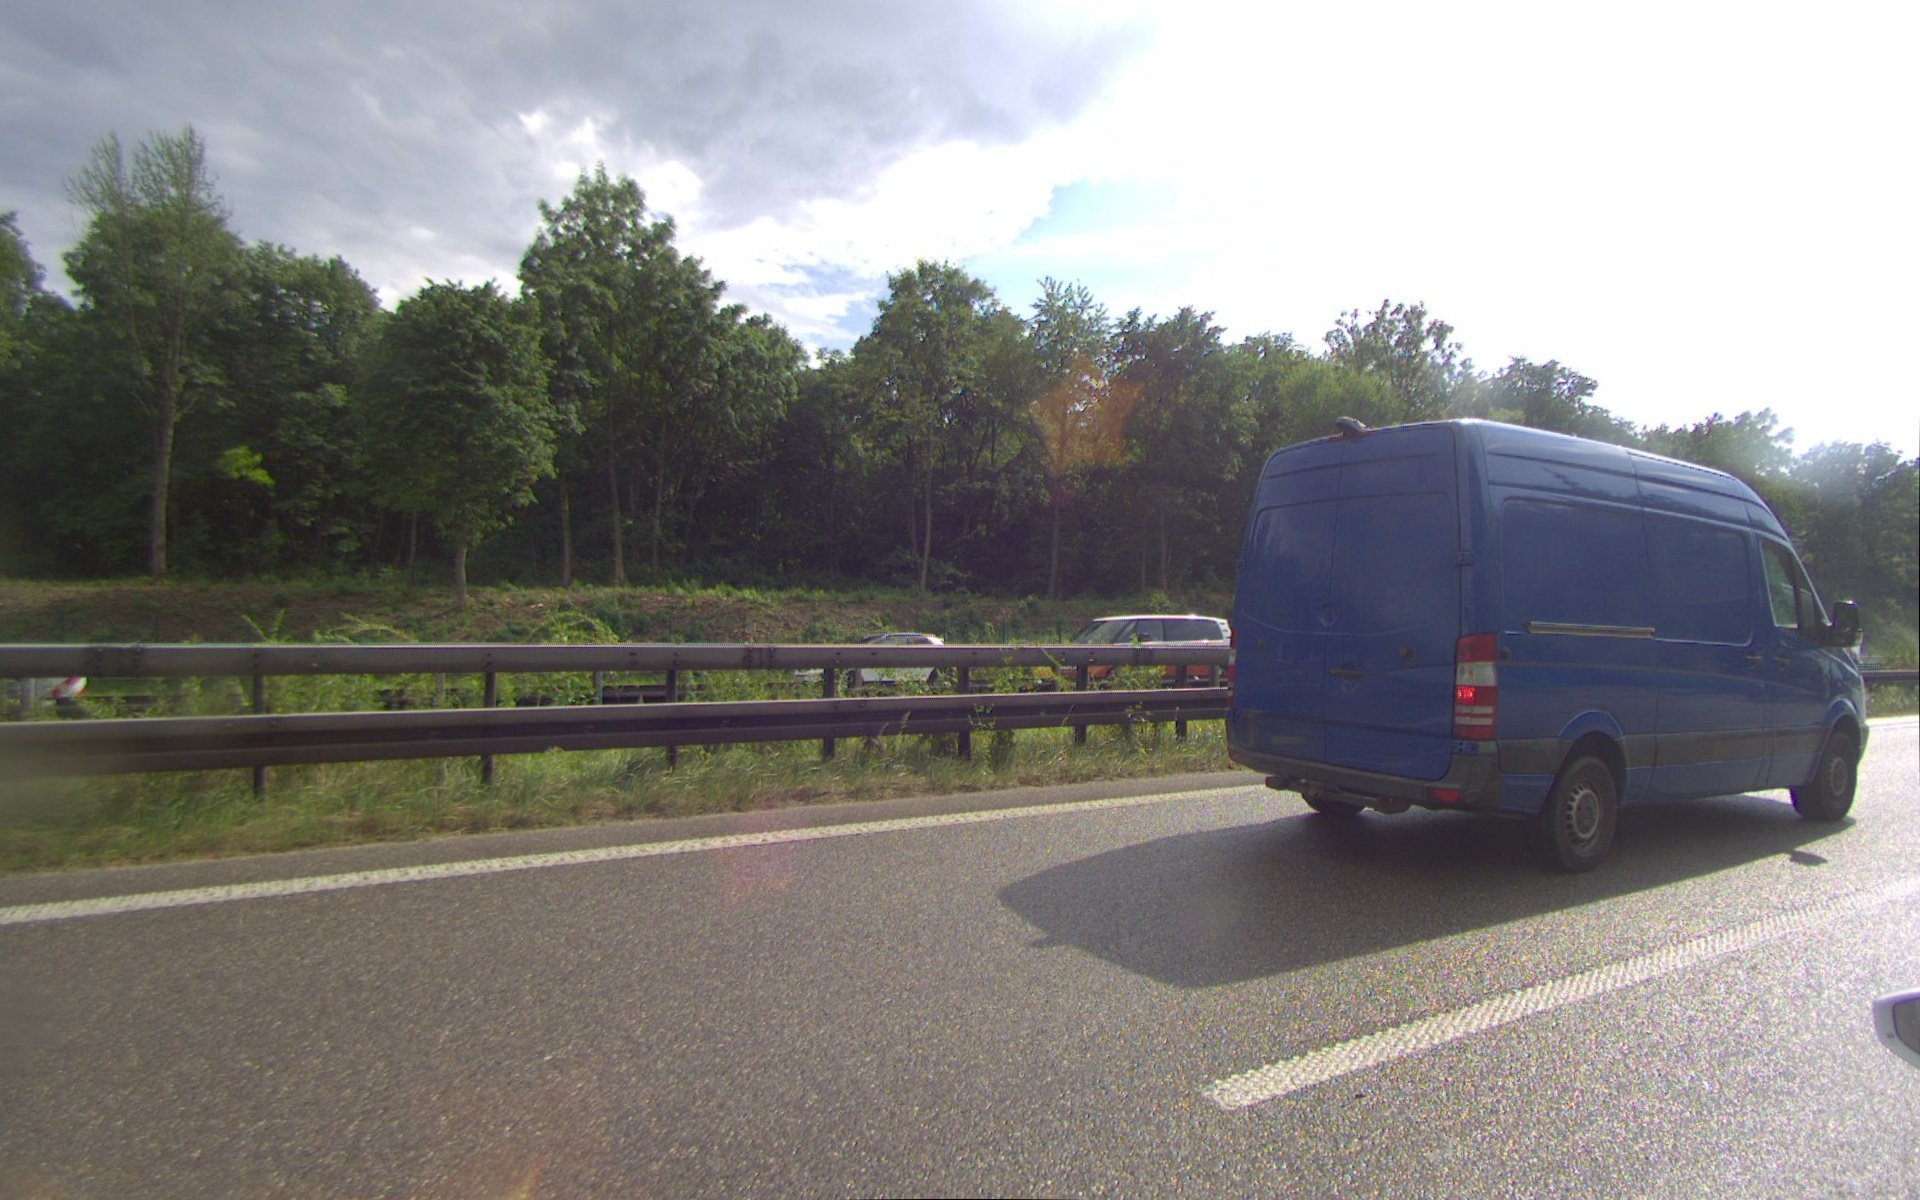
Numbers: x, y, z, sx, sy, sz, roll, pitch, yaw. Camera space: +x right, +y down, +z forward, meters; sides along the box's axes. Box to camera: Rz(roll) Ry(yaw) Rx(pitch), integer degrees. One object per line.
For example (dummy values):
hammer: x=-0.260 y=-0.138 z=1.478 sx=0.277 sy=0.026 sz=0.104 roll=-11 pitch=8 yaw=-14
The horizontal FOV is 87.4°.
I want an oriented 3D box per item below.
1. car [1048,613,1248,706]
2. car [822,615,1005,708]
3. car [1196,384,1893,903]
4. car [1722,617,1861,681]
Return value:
car: x=4.285 y=1.300 z=22.739 sx=4.238 sy=1.936 sz=1.915 roll=2 pitch=-1 yaw=-30
car: x=-1.106 y=1.428 z=24.254 sx=3.953 sy=2.040 sz=1.984 roll=1 pitch=-1 yaw=-30
car: x=4.602 y=0.295 z=7.542 sx=5.710 sy=2.684 sz=2.005 roll=2 pitch=-1 yaw=-31
car: x=26.784 y=1.541 z=32.334 sx=4.565 sy=1.859 sz=1.984 roll=1 pitch=1 yaw=-30
